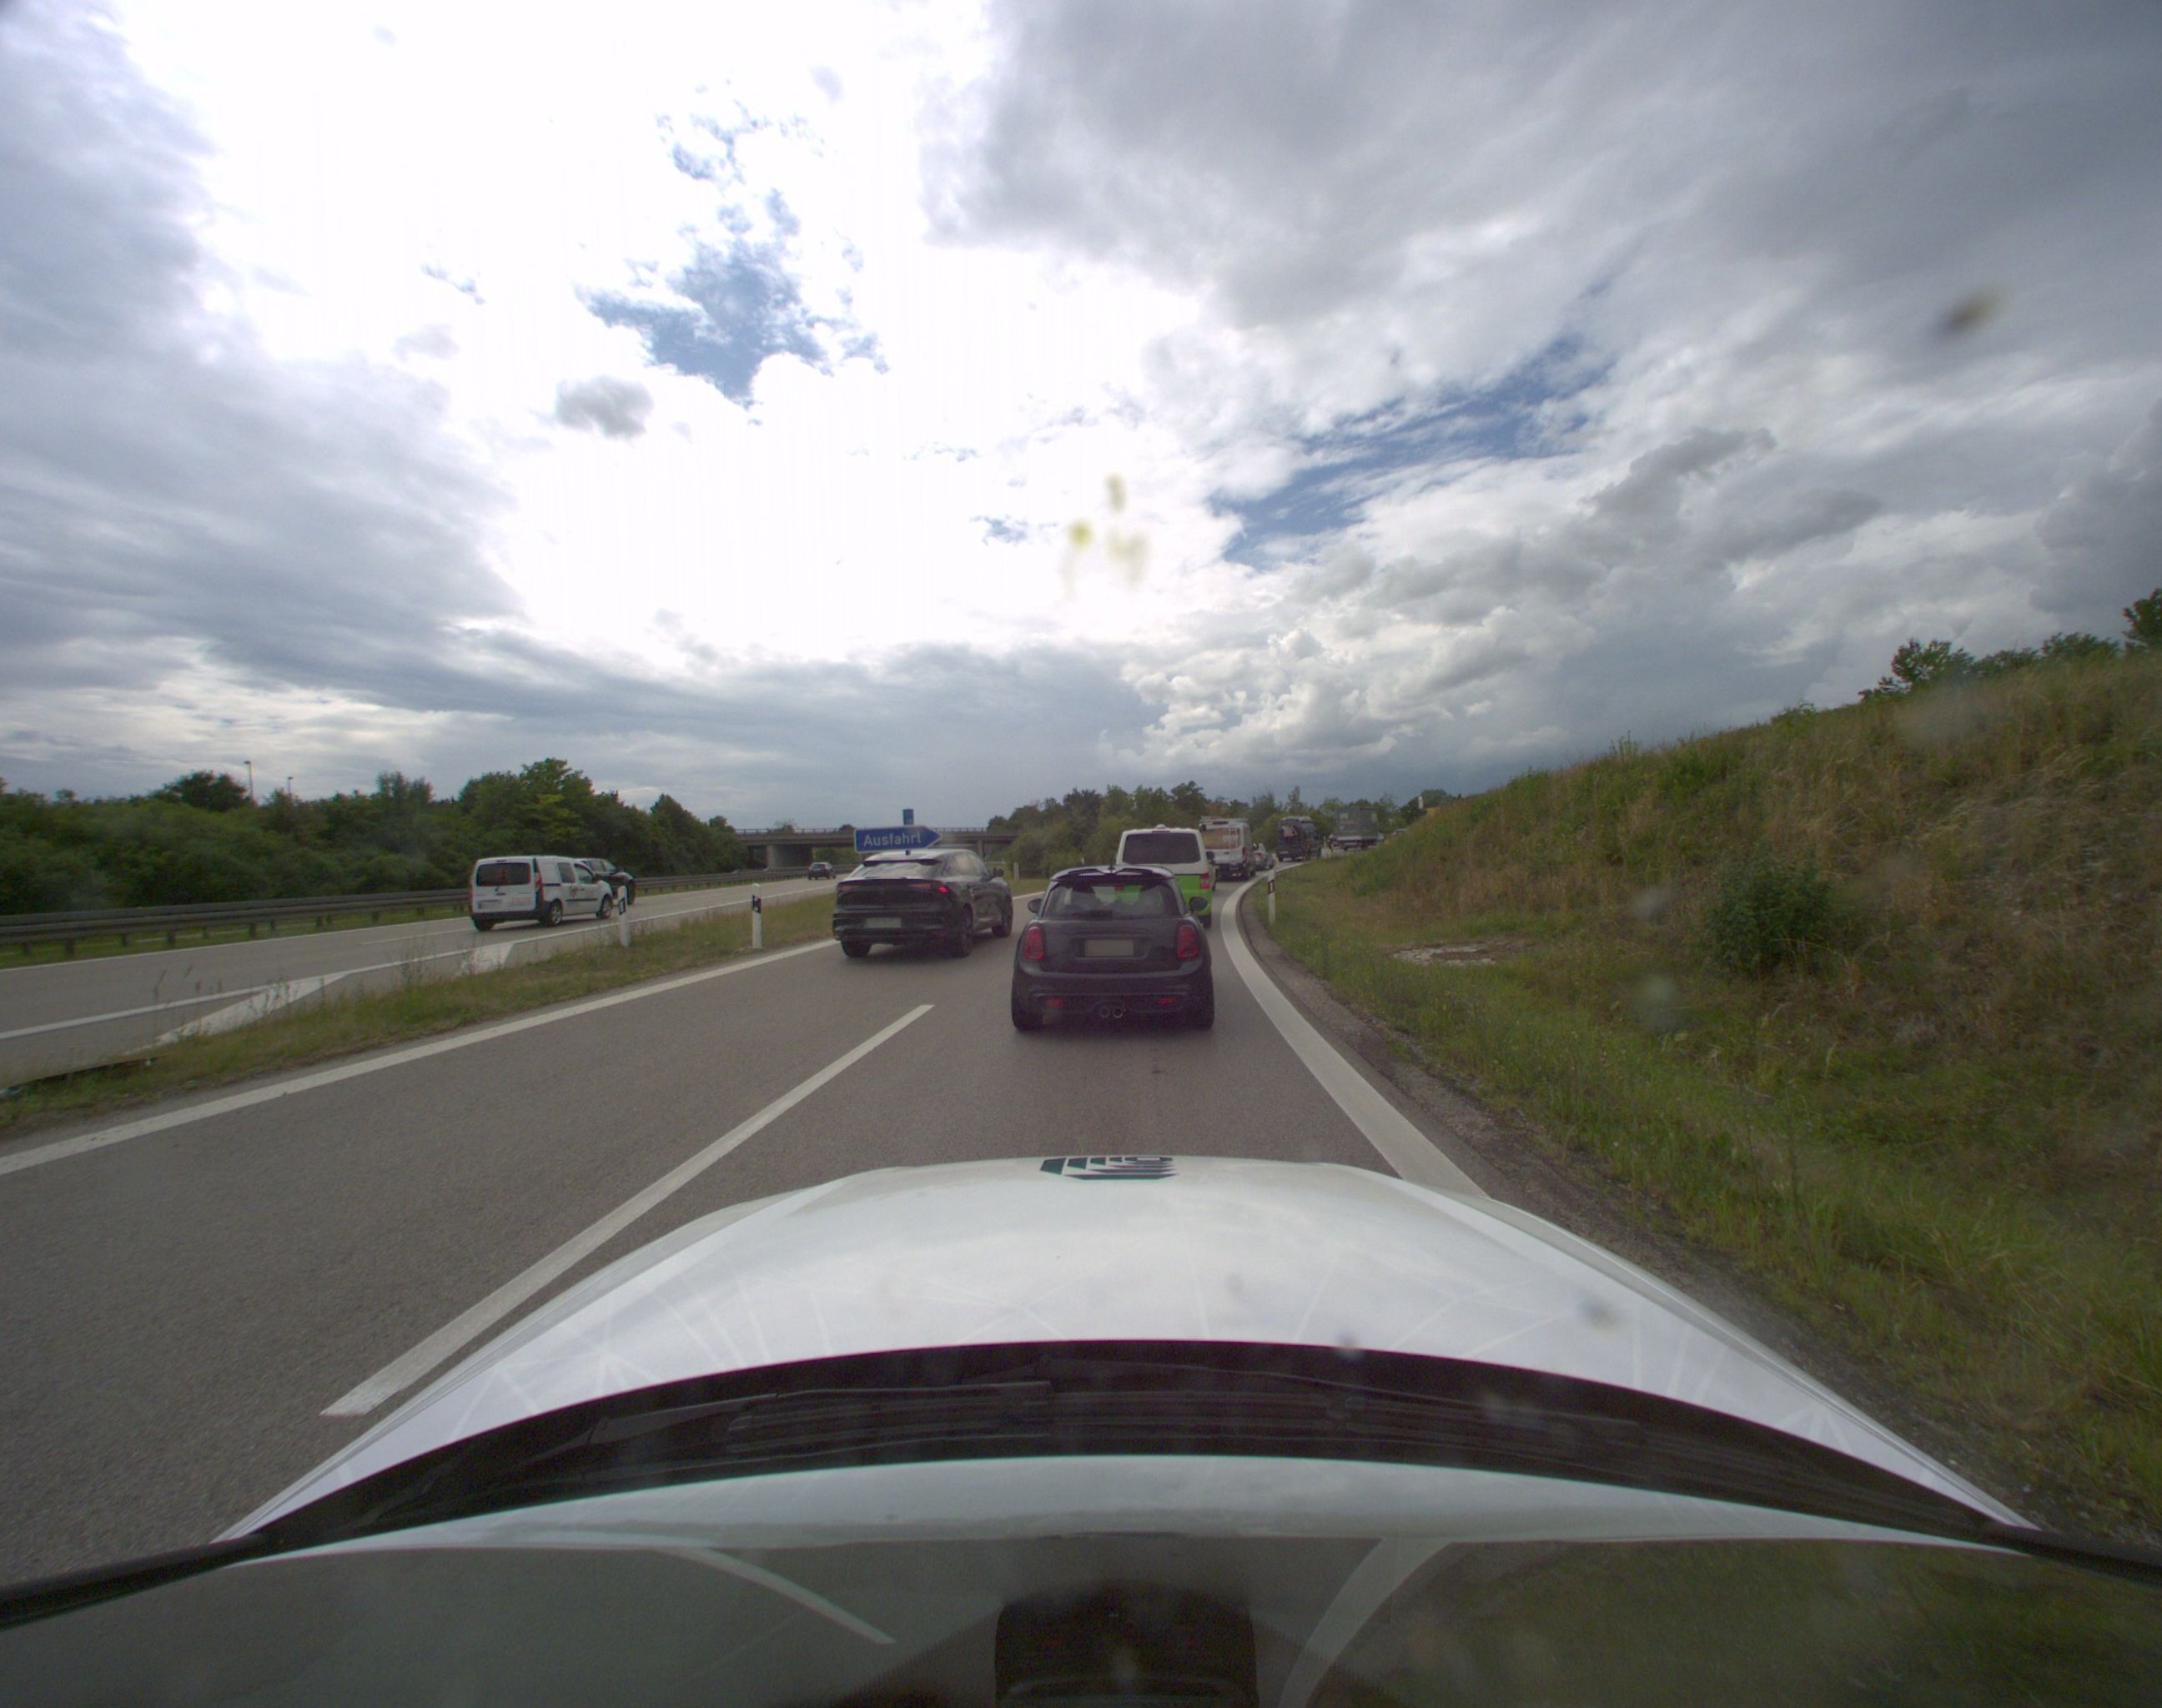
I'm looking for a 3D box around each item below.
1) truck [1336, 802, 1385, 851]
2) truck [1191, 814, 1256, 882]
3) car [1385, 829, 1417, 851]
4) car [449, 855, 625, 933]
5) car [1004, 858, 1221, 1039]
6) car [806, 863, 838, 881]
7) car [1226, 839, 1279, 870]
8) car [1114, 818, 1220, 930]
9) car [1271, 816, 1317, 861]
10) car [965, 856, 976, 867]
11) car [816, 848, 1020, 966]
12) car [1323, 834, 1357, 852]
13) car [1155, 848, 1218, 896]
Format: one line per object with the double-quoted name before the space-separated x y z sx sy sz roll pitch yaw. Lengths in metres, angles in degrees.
"truck" 23.893 -2.217 69.420 2.207 3.907 6.054 -1 -1 36
"truck" 6.267 -0.279 35.235 2.162 2.658 5.130 -2 1 16
"car" 30.976 -1.344 78.726 1.974 2.014 4.025 -1 -1 36
"car" -14.034 0.948 21.384 1.874 1.751 4.478 -2 0 -6
"car" 0.312 0.775 8.431 1.720 1.413 3.726 -1 0 2
"car" -22.655 1.582 71.492 1.720 1.424 4.786 -2 0 -7
"car" 9.239 0.006 43.624 1.849 1.510 4.023 -2 0 26
"car" 1.903 0.370 16.882 1.772 2.013 4.013 -1 0 11
"car" 14.053 -0.991 53.580 2.085 2.796 4.024 -1 0 27
"car" -19.991 1.331 147.261 1.992 2.014 3.988 0 -1 -8
"car" -2.396 0.728 13.306 1.823 1.566 4.508 -2 0 8
"car" 24.057 -1.026 75.523 1.778 1.556 3.986 -2 -1 37
"car" 3.484 0.526 26.392 1.751 1.399 3.736 -2 0 11
